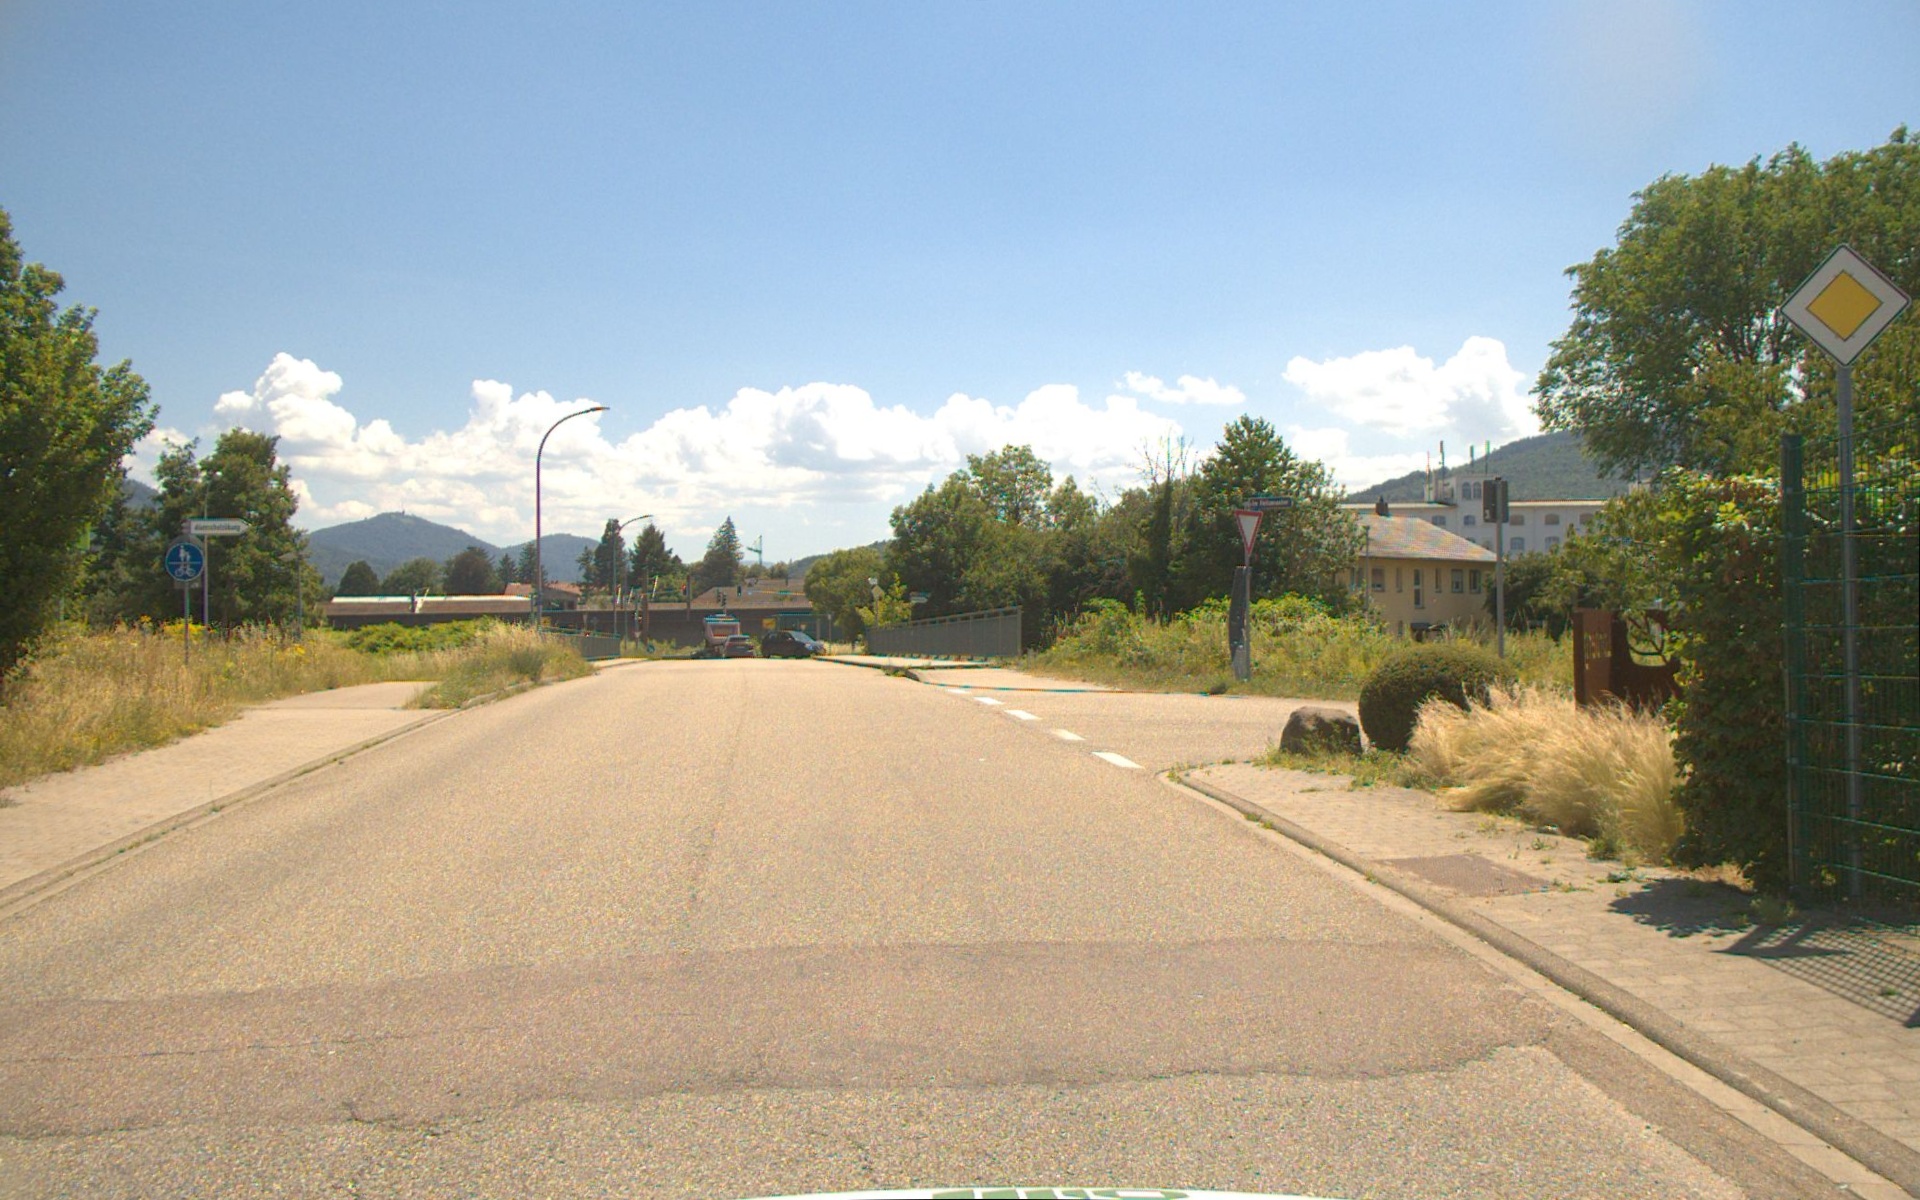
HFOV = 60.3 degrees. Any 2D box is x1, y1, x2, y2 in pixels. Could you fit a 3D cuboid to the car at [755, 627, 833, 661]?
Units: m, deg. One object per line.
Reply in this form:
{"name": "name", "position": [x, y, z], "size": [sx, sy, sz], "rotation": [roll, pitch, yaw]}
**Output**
{"name": "car", "position": [-8.664, 2.282, 86.246], "size": [3.689, 1.663, 1.883], "rotation": [-1, 0, 31]}

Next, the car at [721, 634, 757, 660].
{"name": "car", "position": [-13.621, 2.872, 101.698], "size": [1.958, 1.529, 3.989], "rotation": [1, -2, -11]}

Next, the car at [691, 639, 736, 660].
{"name": "car", "position": [-22.048, 4.456, 147.856], "size": [3.918, 1.732, 1.902], "rotation": [-1, 0, -13]}

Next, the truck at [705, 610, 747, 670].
{"name": "truck", "position": [-17.830, 3.146, 125.565], "size": [2.940, 4.254, 11.780], "rotation": [0, -3, -9]}
